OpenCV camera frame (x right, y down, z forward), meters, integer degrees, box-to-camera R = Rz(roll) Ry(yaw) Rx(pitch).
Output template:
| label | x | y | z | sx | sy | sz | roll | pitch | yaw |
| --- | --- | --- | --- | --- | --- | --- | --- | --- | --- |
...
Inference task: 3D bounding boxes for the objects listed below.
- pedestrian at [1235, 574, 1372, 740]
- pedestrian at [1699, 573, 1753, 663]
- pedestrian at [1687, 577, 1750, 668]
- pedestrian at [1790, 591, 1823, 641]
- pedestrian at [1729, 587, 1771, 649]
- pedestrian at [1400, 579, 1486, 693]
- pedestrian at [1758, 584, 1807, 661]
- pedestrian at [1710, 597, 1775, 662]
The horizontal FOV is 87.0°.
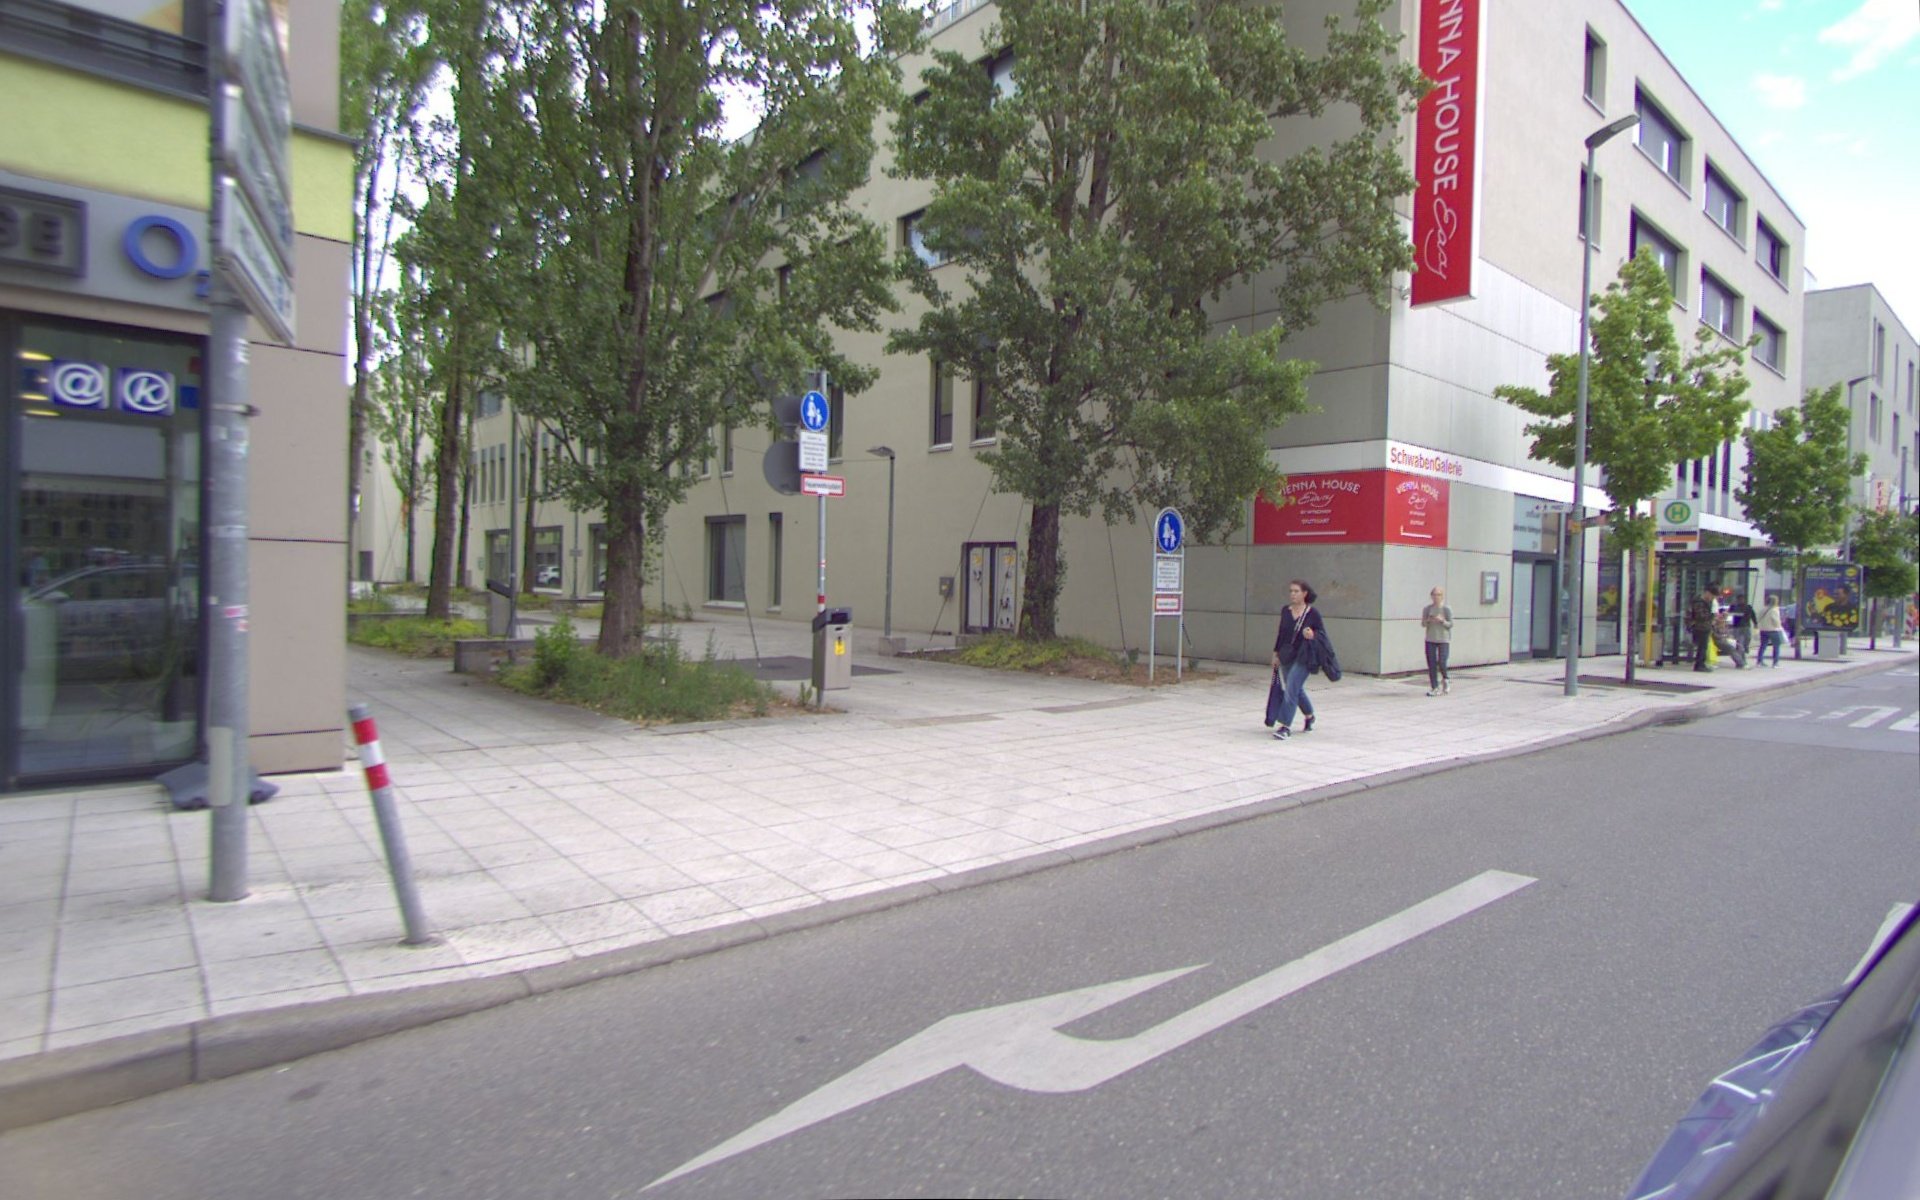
| label | x | y | z | sx | sy | sz | roll | pitch | yaw |
| --- | --- | --- | --- | --- | --- | --- | --- | --- | --- |
| pedestrian | 3.576 | 0.548 | 10.538 | 0.998 | 1.603 | 0.949 | 0 | 1 | -41 |
| pedestrian | 15.605 | 0.355 | 20.608 | 0.840 | 1.791 | 0.581 | 0 | 2 | -35 |
| pedestrian | 14.733 | 0.415 | 19.663 | 0.719 | 1.704 | 0.723 | 0 | 2 | -35 |
| pedestrian | 29.022 | 0.533 | 34.711 | 0.603 | 1.690 | 0.746 | 1 | 1 | -40 |
| pedestrian | 21.623 | 0.483 | 27.697 | 0.702 | 1.628 | 0.742 | 1 | 1 | -40 |
| pedestrian | 7.097 | 0.501 | 14.881 | 0.790 | 1.603 | 0.870 | 0 | 1 | -41 |
| pedestrian | 17.805 | 0.479 | 21.911 | 0.719 | 1.610 | 0.581 | 0 | 2 | -35 |
| pedestrian | 16.436 | 0.605 | 21.257 | 0.720 | 1.274 | 0.944 | 0 | 2 | -43 |
